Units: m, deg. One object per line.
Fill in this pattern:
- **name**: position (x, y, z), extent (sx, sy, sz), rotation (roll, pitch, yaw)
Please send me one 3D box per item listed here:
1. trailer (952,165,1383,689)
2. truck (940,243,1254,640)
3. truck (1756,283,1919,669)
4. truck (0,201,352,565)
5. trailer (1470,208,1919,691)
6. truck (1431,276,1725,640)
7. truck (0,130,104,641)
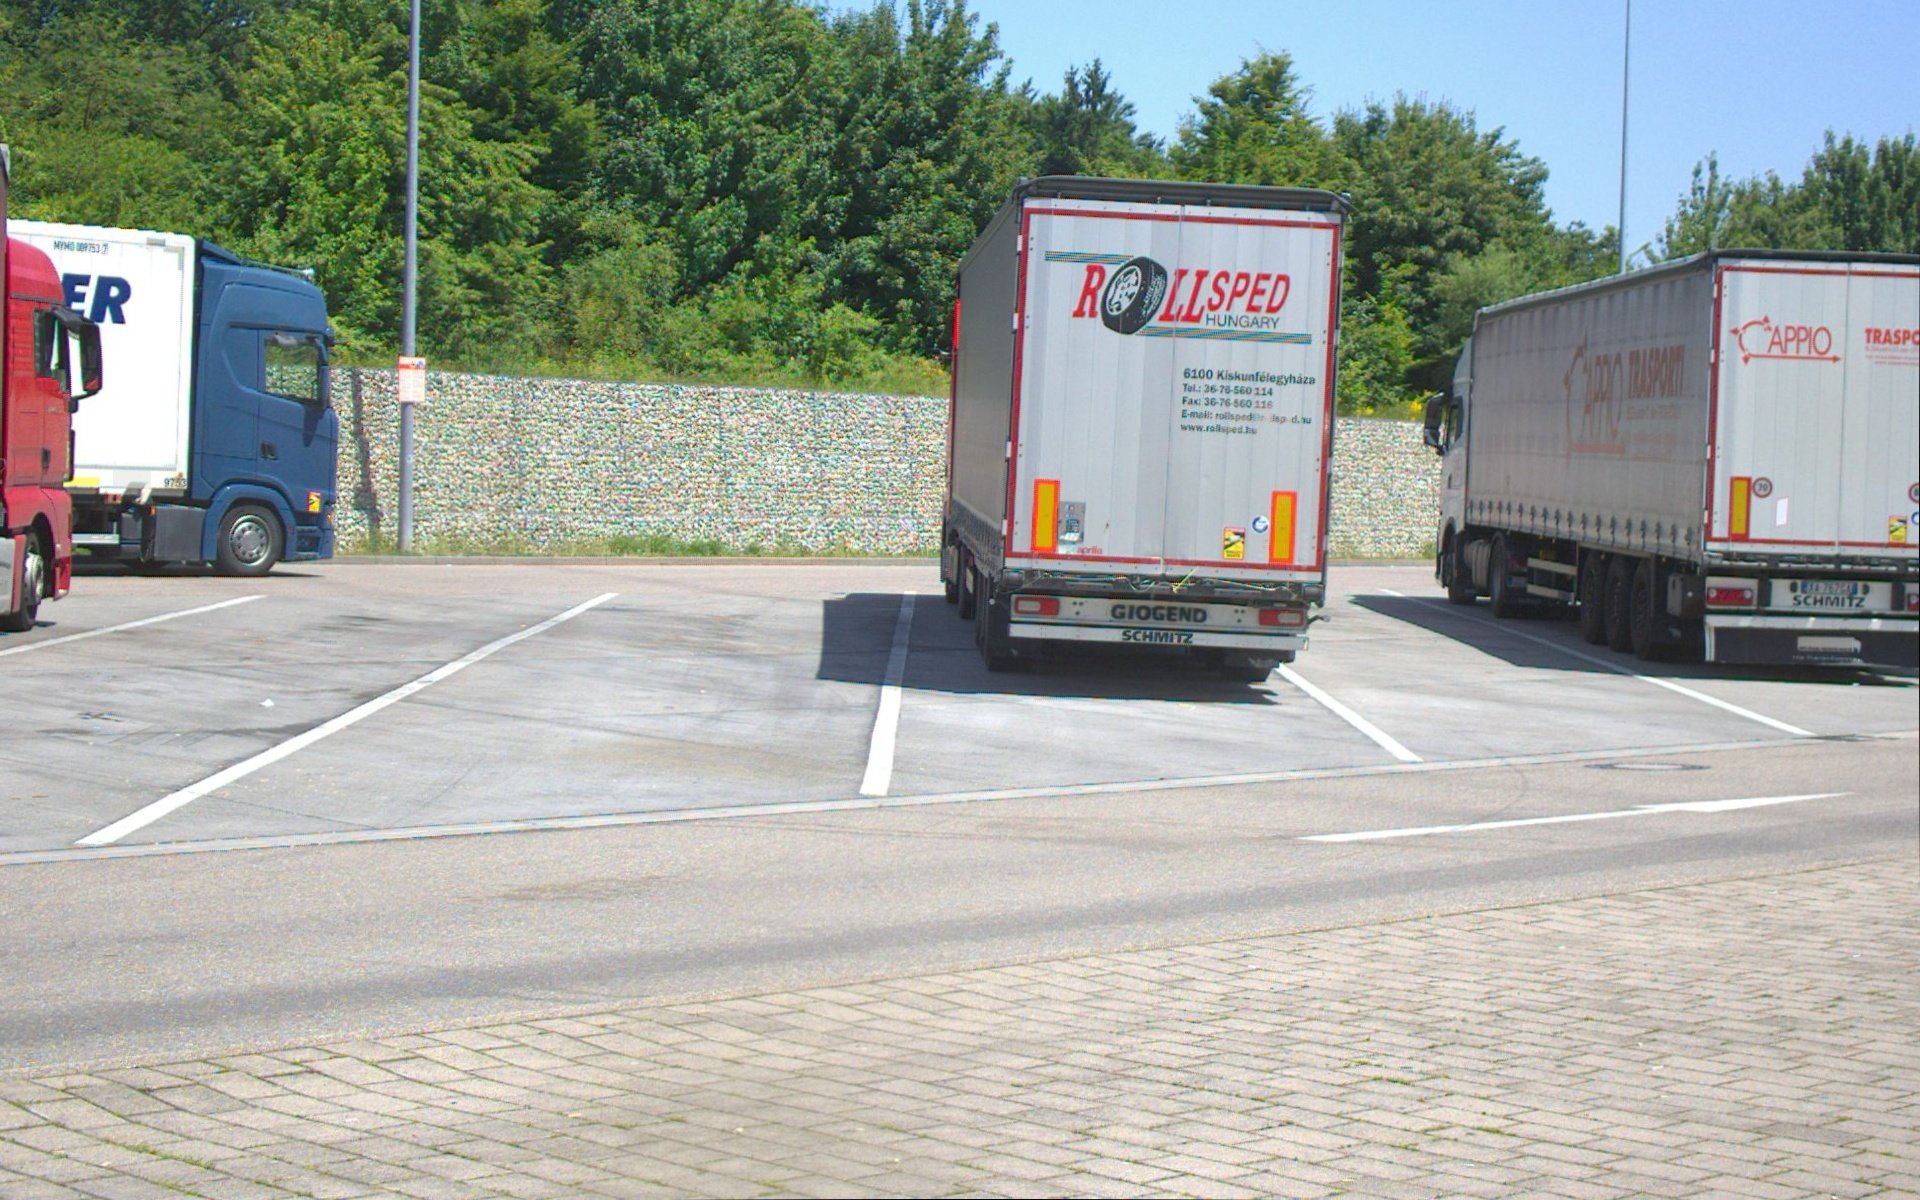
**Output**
- **trailer**: position (1.588, -1.508, 32.117), extent (2.897, 4.000, 11.319), rotation (1, 2, -2)
- **truck**: position (1.368, -1.695, 37.729), extent (2.871, 3.966, 6.030), rotation (1, 2, -3)
- **truck**: position (11.735, -1.349, 38.698), extent (2.587, 4.211, 11.971), rotation (1, 1, -1)
- **truck**: position (-11.729, -2.488, 39.066), extent (2.240, 4.019, 10.028), rotation (2, 1, 44)
- **trailer**: position (8.118, -1.588, 38.183), extent (2.681, 4.437, 12.831), rotation (1, 2, -1)
- **truck**: position (7.986, -1.830, 45.116), extent (2.661, 4.437, 5.864), rotation (1, 2, -1)
- **truck**: position (-9.170, -1.761, 28.343), extent (2.805, 4.119, 5.894), rotation (1, 2, -1)
